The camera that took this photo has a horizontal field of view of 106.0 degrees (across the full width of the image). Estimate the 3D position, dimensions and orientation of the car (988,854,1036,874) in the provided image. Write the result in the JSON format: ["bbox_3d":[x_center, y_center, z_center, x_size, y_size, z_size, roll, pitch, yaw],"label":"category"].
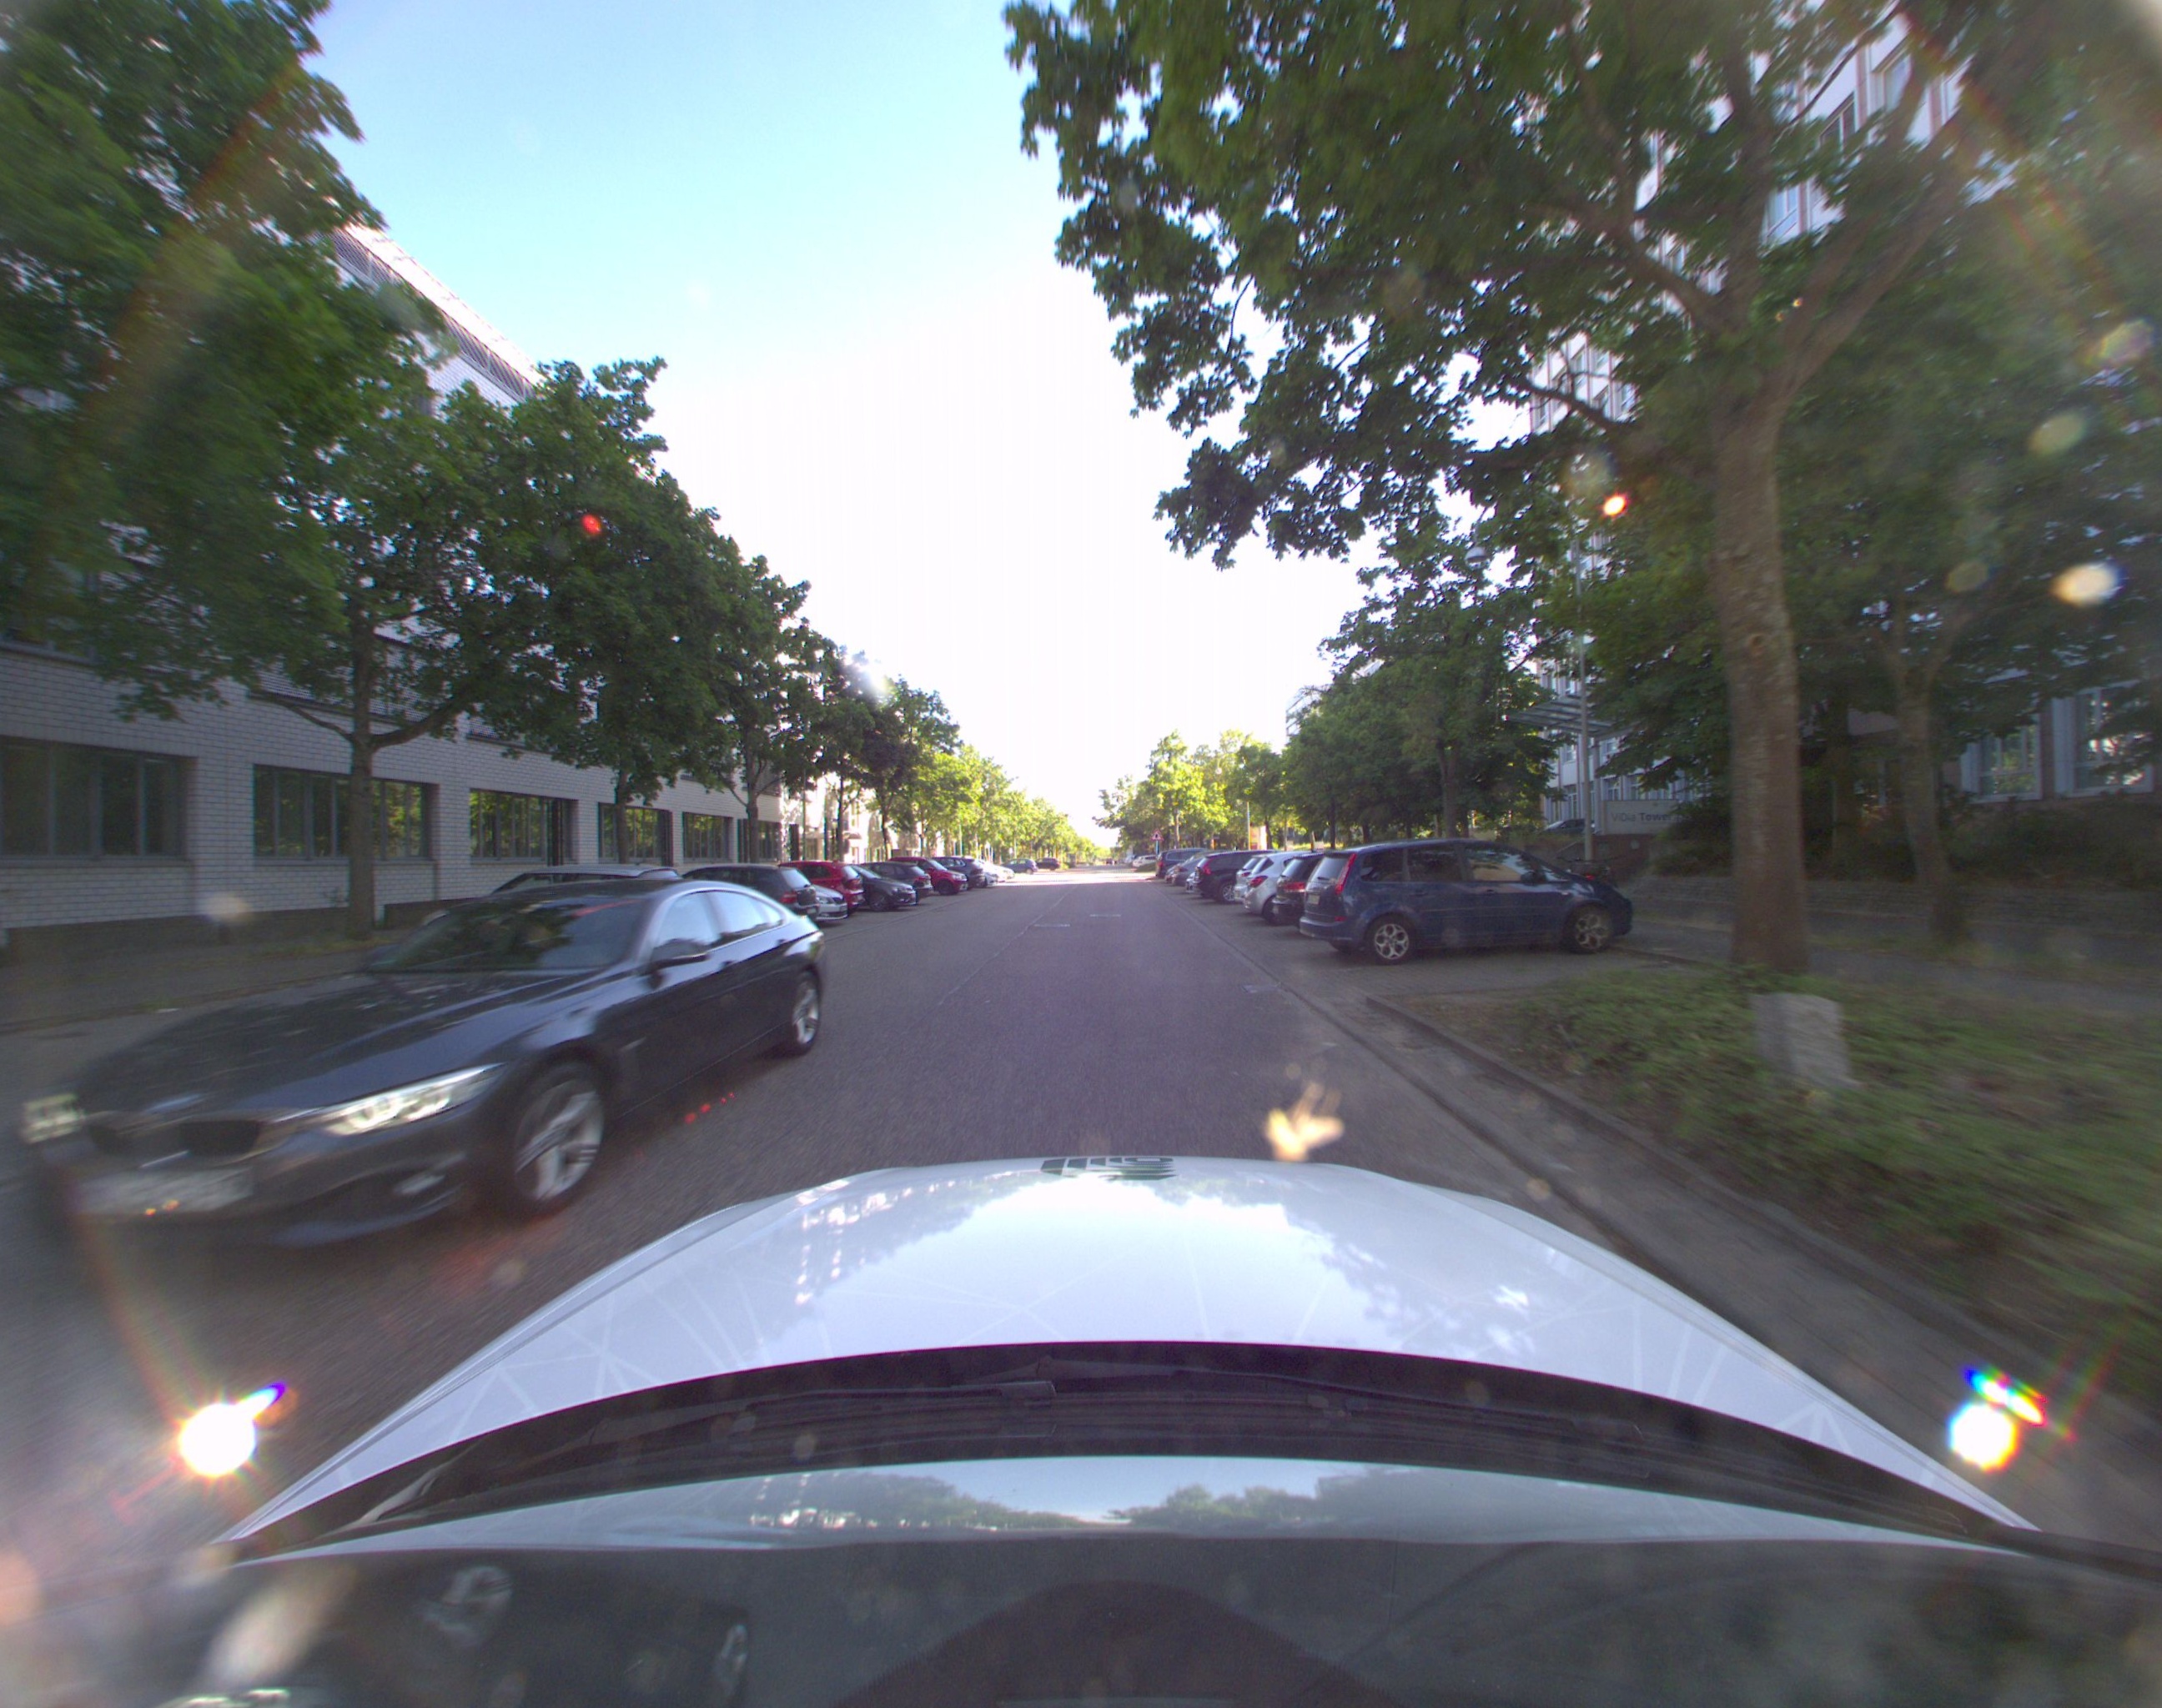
[{"bbox_3d":[-5.784,0.831,68.589,3.977,1.533,1.616,-2,0,-3],"label":"car"}]

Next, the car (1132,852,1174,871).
[{"bbox_3d":[7.284,0.776,82.972,3.978,1.792,1.998,-1,-1,-3],"label":"car"}]

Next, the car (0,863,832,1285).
[{"bbox_3d":[-3.084,0.797,4.912,1.806,1.415,4.108,-1,0,1],"label":"car"}]

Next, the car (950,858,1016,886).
[{"bbox_3d":[-5.935,1.100,49.668,3.886,1.612,1.855,-1,-1,-5],"label":"car"}]

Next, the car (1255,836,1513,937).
[{"bbox_3d":[5.237,0.548,14.489,3.868,1.526,1.896,-2,-1,1],"label":"car"}]

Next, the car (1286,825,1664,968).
[{"bbox_3d":[5.193,0.538,11.167,4.255,1.633,1.857,-2,-1,-1],"label":"car"}]

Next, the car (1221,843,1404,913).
[{"bbox_3d":[5.482,0.560,19.682,3.851,1.468,1.967,-2,-1,1],"label":"car"}]

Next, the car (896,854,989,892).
[{"bbox_3d":[-6.494,0.912,38.447,3.968,1.587,1.767,-2,-2,4],"label":"car"}]

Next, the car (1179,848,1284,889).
[{"bbox_3d":[6.224,0.594,33.918,4.032,1.454,1.518,-3,-1,-2],"label":"car"}]

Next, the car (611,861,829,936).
[{"bbox_3d":[-7.345,0.888,16.802,3.747,1.445,1.632,0,-1,2],"label":"car"}]

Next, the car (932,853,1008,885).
[{"bbox_3d":[-6.347,0.827,46.725,3.969,1.654,1.862,-2,0,4],"label":"car"}]

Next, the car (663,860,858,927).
[{"bbox_3d":[-7.422,0.894,19.154,3.855,1.457,1.754,0,1,-1],"label":"car"}]

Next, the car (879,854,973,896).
[{"bbox_3d":[-6.469,0.864,34.223,3.525,1.657,1.763,-1,-1,3],"label":"car"}]

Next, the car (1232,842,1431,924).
[{"bbox_3d":[5.121,0.577,16.986,3.621,1.467,1.634,-3,-1,2],"label":"car"}]

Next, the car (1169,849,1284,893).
[{"bbox_3d":[5.505,0.638,31.103,4.032,1.491,1.549,-2,-1,-2],"label":"car"}]

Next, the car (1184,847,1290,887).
[{"bbox_3d":[6.500,0.539,34.147,4.034,1.421,1.735,-3,-1,-3],"label":"car"}]

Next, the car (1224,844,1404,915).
[{"bbox_3d":[5.505,0.599,19.601,3.742,1.449,1.879,-3,-1,-1],"label":"car"}]

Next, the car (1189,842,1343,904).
[{"bbox_3d":[5.394,0.551,24.207,4.227,1.554,1.923,-3,-1,6],"label":"car"}]

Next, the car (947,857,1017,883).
[{"bbox_3d":[-6.013,0.985,49.744,3.974,1.481,1.679,-1,-1,0],"label":"car"}]

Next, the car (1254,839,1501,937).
[{"bbox_3d":[5.161,0.581,14.613,3.725,1.467,1.912,-3,-1,3],"label":"car"}]

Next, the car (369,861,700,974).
[{"bbox_3d":[-7.912,0.881,12.037,3.719,1.464,1.677,-1,-1,1],"label":"car"}]

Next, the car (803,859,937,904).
[{"bbox_3d":[-6.884,0.898,26.848,3.976,1.406,1.604,0,-1,-2],"label":"car"}]

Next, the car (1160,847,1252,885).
[{"bbox_3d":[5.914,0.568,38.816,4.032,1.582,1.640,-3,-1,-2],"label":"car"}]

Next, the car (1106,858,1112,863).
[{"bbox_3d":[8.329,1.872,241.481,1.926,1.597,4.368,-2,0,2],"label":"car"}]

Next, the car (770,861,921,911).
[{"bbox_3d":[-6.956,0.932,24.302,3.974,1.413,1.665,0,-1,0],"label":"car"}]

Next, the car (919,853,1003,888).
[{"bbox_3d":[-6.093,0.824,41.575,3.973,1.719,1.709,-1,0,0],"label":"car"}]

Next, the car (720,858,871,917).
[{"bbox_3d":[-7.494,0.862,21.632,3.411,1.463,1.694,0,0,-3],"label":"car"}]

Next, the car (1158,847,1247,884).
[{"bbox_3d":[5.772,0.531,38.968,3.884,1.656,1.856,-1,-1,-3],"label":"car"}]

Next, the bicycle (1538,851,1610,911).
[{"bbox_3d":[9.237,0.476,15.315,0.377,1.047,1.888,-3,-1,7],"label":"bicycle"}]

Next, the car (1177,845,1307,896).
[{"bbox_3d":[5.426,0.545,27.648,4.038,1.591,1.547,-1,0,-6],"label":"car"}]

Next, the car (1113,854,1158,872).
[{"bbox_3d":[5.139,0.819,76.792,3.978,1.624,1.998,-1,-1,-3],"label":"car"}]

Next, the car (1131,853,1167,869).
[{"bbox_3d":[7.916,0.848,95.117,3.978,1.792,1.998,-1,-1,-3],"label":"car"}]

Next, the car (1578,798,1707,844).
[{"bbox_3d":[23.434,-1.336,34.087,4.061,1.783,1.998,0,-1,-2],"label":"car"}]

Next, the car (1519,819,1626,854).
[{"bbox_3d":[24.815,-0.877,41.242,4.289,1.672,1.998,0,-1,-3],"label":"car"}]

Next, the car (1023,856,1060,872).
[{"bbox_3d":[-4.479,1.179,93.468,3.971,1.684,2.001,-2,-1,2],"label":"car"}]
